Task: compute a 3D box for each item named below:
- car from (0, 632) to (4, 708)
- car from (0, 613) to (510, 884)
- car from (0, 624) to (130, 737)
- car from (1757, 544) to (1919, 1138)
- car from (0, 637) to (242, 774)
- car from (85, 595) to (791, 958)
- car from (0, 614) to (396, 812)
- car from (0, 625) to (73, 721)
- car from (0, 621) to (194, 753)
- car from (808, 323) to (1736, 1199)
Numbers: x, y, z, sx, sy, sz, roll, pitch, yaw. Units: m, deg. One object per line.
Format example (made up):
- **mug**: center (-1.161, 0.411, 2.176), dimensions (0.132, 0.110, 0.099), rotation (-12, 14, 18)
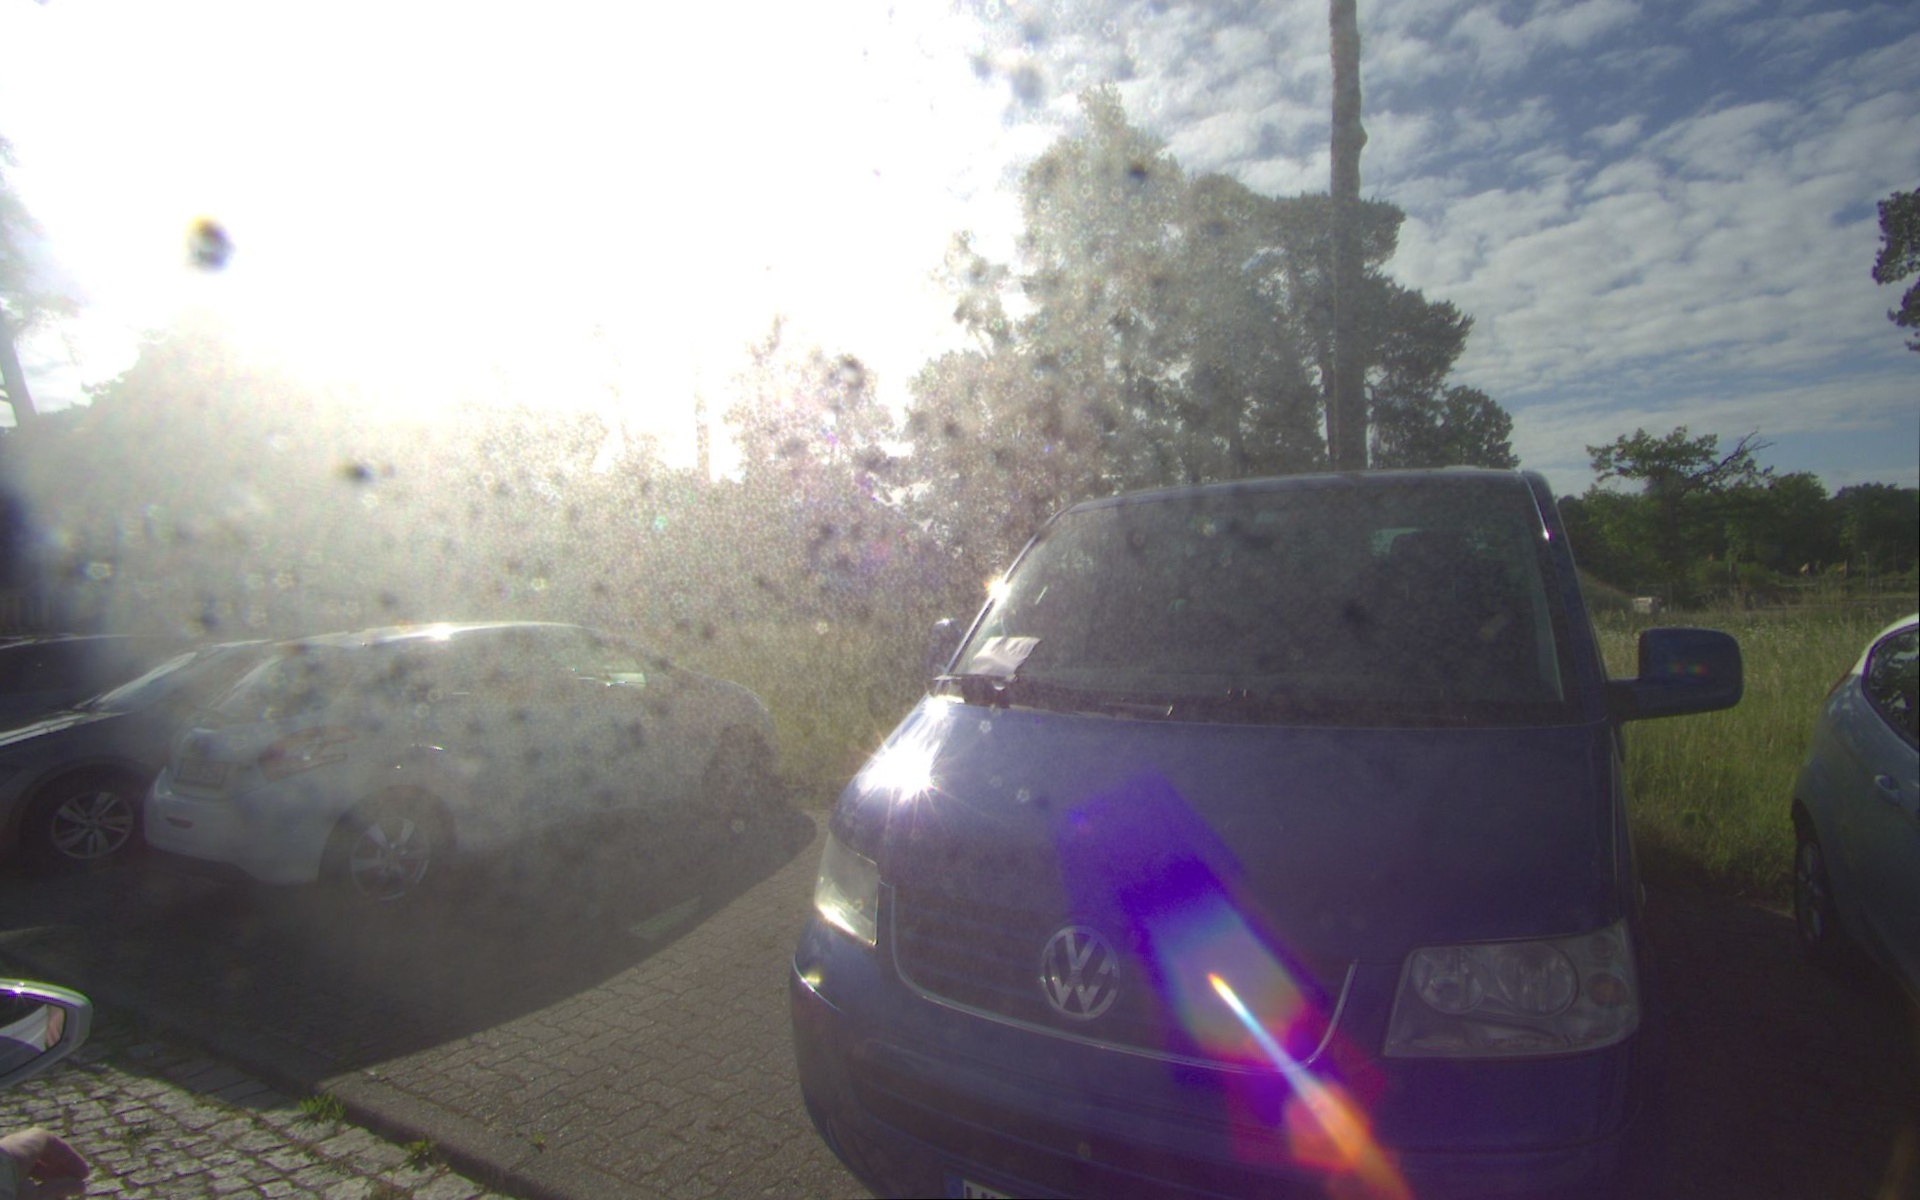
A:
- **car**: center (-18.376, 1.232, 16.222), dimensions (1.613, 1.434, 3.873), rotation (-1, 1, 32)
- **car**: center (-5.701, 0.919, 7.676), dimensions (1.829, 1.468, 3.698), rotation (-1, 1, 32)
- **car**: center (-13.946, 1.146, 13.083), dimensions (1.755, 1.434, 4.422), rotation (-1, 1, 32)
- **car**: center (3.474, 0.623, 2.345), dimensions (1.911, 1.598, 4.388), rotation (-1, 1, 31)
- **car**: center (-10.211, 1.131, 10.721), dimensions (1.721, 1.240, 3.698), rotation (-1, 1, 32)
- **car**: center (-3.015, 0.804, 6.555), dimensions (1.736, 1.555, 3.698), rotation (-1, 1, 32)
- **car**: center (-7.836, 0.954, 9.700), dimensions (1.790, 1.468, 3.699), rotation (-1, 1, 31)
- **car**: center (-16.163, 1.196, 14.589), dimensions (1.613, 1.434, 4.549), rotation (-1, 1, 32)
- **car**: center (-12.039, 1.081, 12.079), dimensions (1.613, 1.468, 4.118), rotation (-1, 1, 32)
- **car**: center (1.655, 0.482, 4.221), dimensions (1.971, 1.961, 4.689), rotation (-1, 1, 31)
